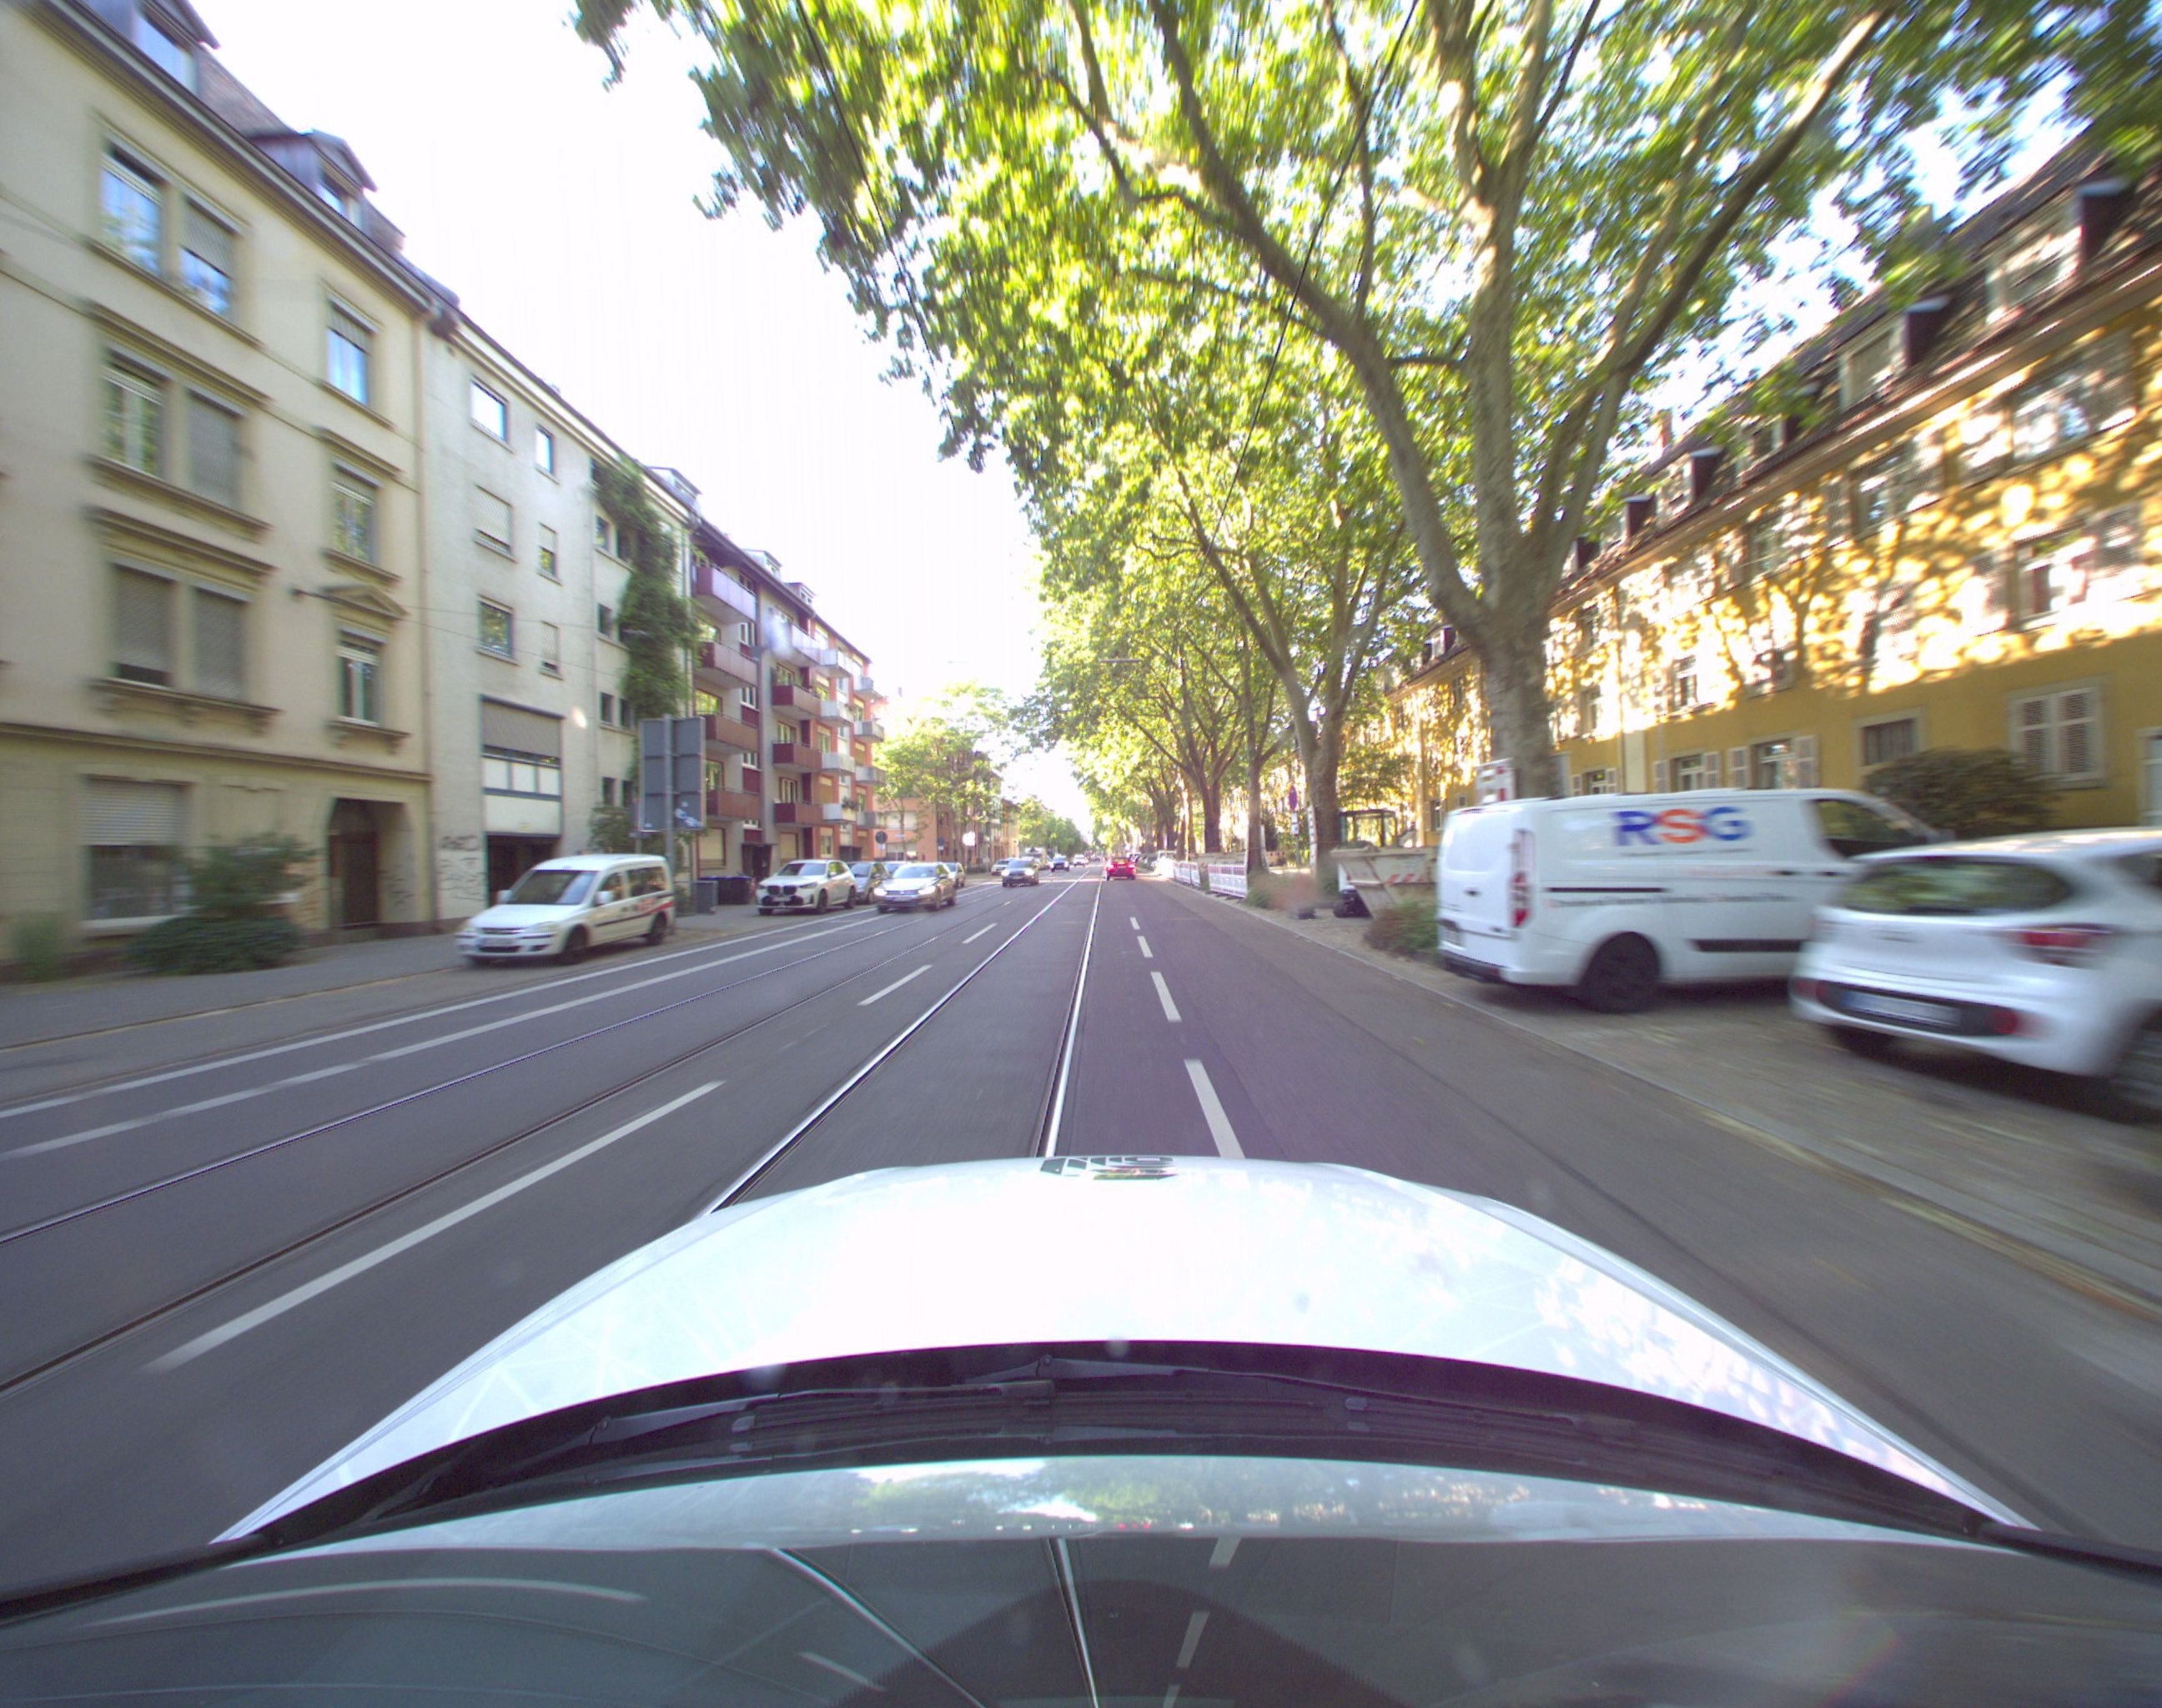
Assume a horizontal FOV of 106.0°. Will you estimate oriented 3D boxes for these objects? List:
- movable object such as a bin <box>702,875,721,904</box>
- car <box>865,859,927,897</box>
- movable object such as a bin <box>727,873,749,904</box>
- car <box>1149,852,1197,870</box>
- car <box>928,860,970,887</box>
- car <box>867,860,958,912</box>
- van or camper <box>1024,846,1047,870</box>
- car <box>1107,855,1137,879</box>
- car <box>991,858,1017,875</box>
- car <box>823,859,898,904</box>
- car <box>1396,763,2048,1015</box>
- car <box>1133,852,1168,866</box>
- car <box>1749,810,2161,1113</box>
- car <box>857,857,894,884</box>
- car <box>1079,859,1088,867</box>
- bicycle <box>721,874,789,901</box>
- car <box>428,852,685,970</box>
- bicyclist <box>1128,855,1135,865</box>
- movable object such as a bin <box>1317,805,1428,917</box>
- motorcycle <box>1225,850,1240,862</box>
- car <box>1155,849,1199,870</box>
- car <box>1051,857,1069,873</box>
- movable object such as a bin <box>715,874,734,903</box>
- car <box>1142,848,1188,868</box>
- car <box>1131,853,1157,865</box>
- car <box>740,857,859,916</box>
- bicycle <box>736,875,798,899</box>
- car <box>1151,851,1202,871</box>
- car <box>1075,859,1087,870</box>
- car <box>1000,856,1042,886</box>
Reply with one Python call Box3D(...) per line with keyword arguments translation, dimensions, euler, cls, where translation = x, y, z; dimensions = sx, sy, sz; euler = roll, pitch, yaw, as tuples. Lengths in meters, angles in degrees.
Box3D(translation=(-13.835, 1.340, 30.527), dimensions=(0.459, 1.055, 0.492), euler=(-1, 0, 1), cls="movable object such as a bin")
Box3D(translation=(-8.119, 1.019, 36.133), dimensions=(1.814, 1.587, 4.004), euler=(-1, 0, 0), cls="car")
Box3D(translation=(-12.853, 1.289, 30.554), dimensions=(0.576, 1.100, 0.498), euler=(-1, 0, 1), cls="movable object such as a bin")
Box3D(translation=(8.527, 0.651, 75.606), dimensions=(4.349, 1.542, 1.804), euler=(-2, 0, 5), cls="car")
Box3D(translation=(-7.505, 1.088, 46.565), dimensions=(1.719, 1.483, 3.930), euler=(1, 0, 1), cls="car")
Box3D(translation=(-5.148, 0.952, 25.568), dimensions=(1.789, 1.446, 4.716), euler=(-1, -1, 1), cls="car")
Box3D(translation=(-5.986, 0.518, 107.168), dimensions=(2.328, 3.041, 6.401), euler=(1, 0, 3), cls="van or camper")
Box3D(translation=(2.510, 0.771, 50.093), dimensions=(1.785, 1.389, 4.239), euler=(-1, 0, 2), cls="car")
Box3D(translation=(-6.989, 1.120, 74.521), dimensions=(1.799, 1.478, 4.092), euler=(0, 0, 3), cls="car")
Box3D(translation=(-8.320, 0.998, 31.047), dimensions=(1.619, 1.572, 3.784), euler=(-2, -1, 3), cls="car")
Box3D(translation=(5.972, 0.308, 8.126), dimensions=(4.817, 2.013, 2.064), euler=(-2, 0, 1), cls="car")
Box3D(translation=(9.252, 0.631, 108.346), dimensions=(4.474, 1.602, 2.030), euler=(-4, -1, 5), cls="car")
Box3D(translation=(6.493, 0.513, 5.058), dimensions=(3.293, 1.539, 1.697), euler=(-2, 0, 0), cls="car")
Box3D(translation=(-16.892, 1.339, 66.836), dimensions=(2.004, 2.123, 4.681), euler=(-1, -1, -27), cls="car")
Box3D(translation=(0.502, 1.813, 161.686), dimensions=(1.769, 1.458, 4.203), euler=(-3, 0, 1), cls="car")
Box3D(translation=(-13.074, 1.346, 32.718), dimensions=(2.444, 1.062, 0.698), euler=(0, 0, -2), cls="bicycle")
Box3D(translation=(-9.063, 0.859, 14.625), dimensions=(1.783, 1.771, 4.468), euler=(0, 0, -1), cls="car")
Box3D(translation=(9.002, 1.055, 144.732), dimensions=(1.045, 1.705, 1.055), euler=(-2, 0, -8), cls="bicyclist")
Box3D(translation=(6.614, 0.135, 18.287), dimensions=(1.467, 2.269, 3.298), euler=(-2, 0, 35), cls="movable object such as a bin")
Box3D(translation=(19.628, 0.219, 105.666), dimensions=(1.798, 1.361, 0.622), euler=(-5, -1, -1), cls="motorcycle")
Box3D(translation=(8.666, 0.527, 73.577), dimensions=(3.825, 1.772, 1.919), euler=(-2, 0, 5), cls="car")
Box3D(translation=(-2.204, 1.183, 86.652), dimensions=(1.848, 1.600, 4.461), euler=(1, 0, -2), cls="car")
Box3D(translation=(-13.370, 1.307, 30.546), dimensions=(0.459, 1.055, 0.492), euler=(-1, 0, 1), cls="movable object such as a bin")
Box3D(translation=(9.172, 0.409, 89.071), dimensions=(4.822, 1.963, 2.064), euler=(-2, 0, -1), cls="car")
Box3D(translation=(9.885, 0.805, 128.407), dimensions=(3.911, 1.670, 1.960), euler=(-2, 0, -1), cls="car")
Box3D(translation=(-8.589, 0.944, 25.383), dimensions=(1.946, 1.648, 4.882), euler=(0, -1, 1), cls="car")
Box3D(translation=(-13.033, 1.370, 33.868), dimensions=(2.283, 0.993, 0.698), euler=(0, 0, -2), cls="bicycle")
Box3D(translation=(8.115, 0.620, 69.304), dimensions=(4.074, 1.521, 1.916), euler=(-2, -1, 0), cls="car")
Box3D(translation=(0.032, 1.753, 136.403), dimensions=(1.885, 1.832, 4.897), euler=(-2, 0, 1), cls="car")
Box3D(translation=(-3.236, 0.891, 44.509), dimensions=(1.789, 1.446, 4.055), euler=(-3, 0, 2), cls="car")
